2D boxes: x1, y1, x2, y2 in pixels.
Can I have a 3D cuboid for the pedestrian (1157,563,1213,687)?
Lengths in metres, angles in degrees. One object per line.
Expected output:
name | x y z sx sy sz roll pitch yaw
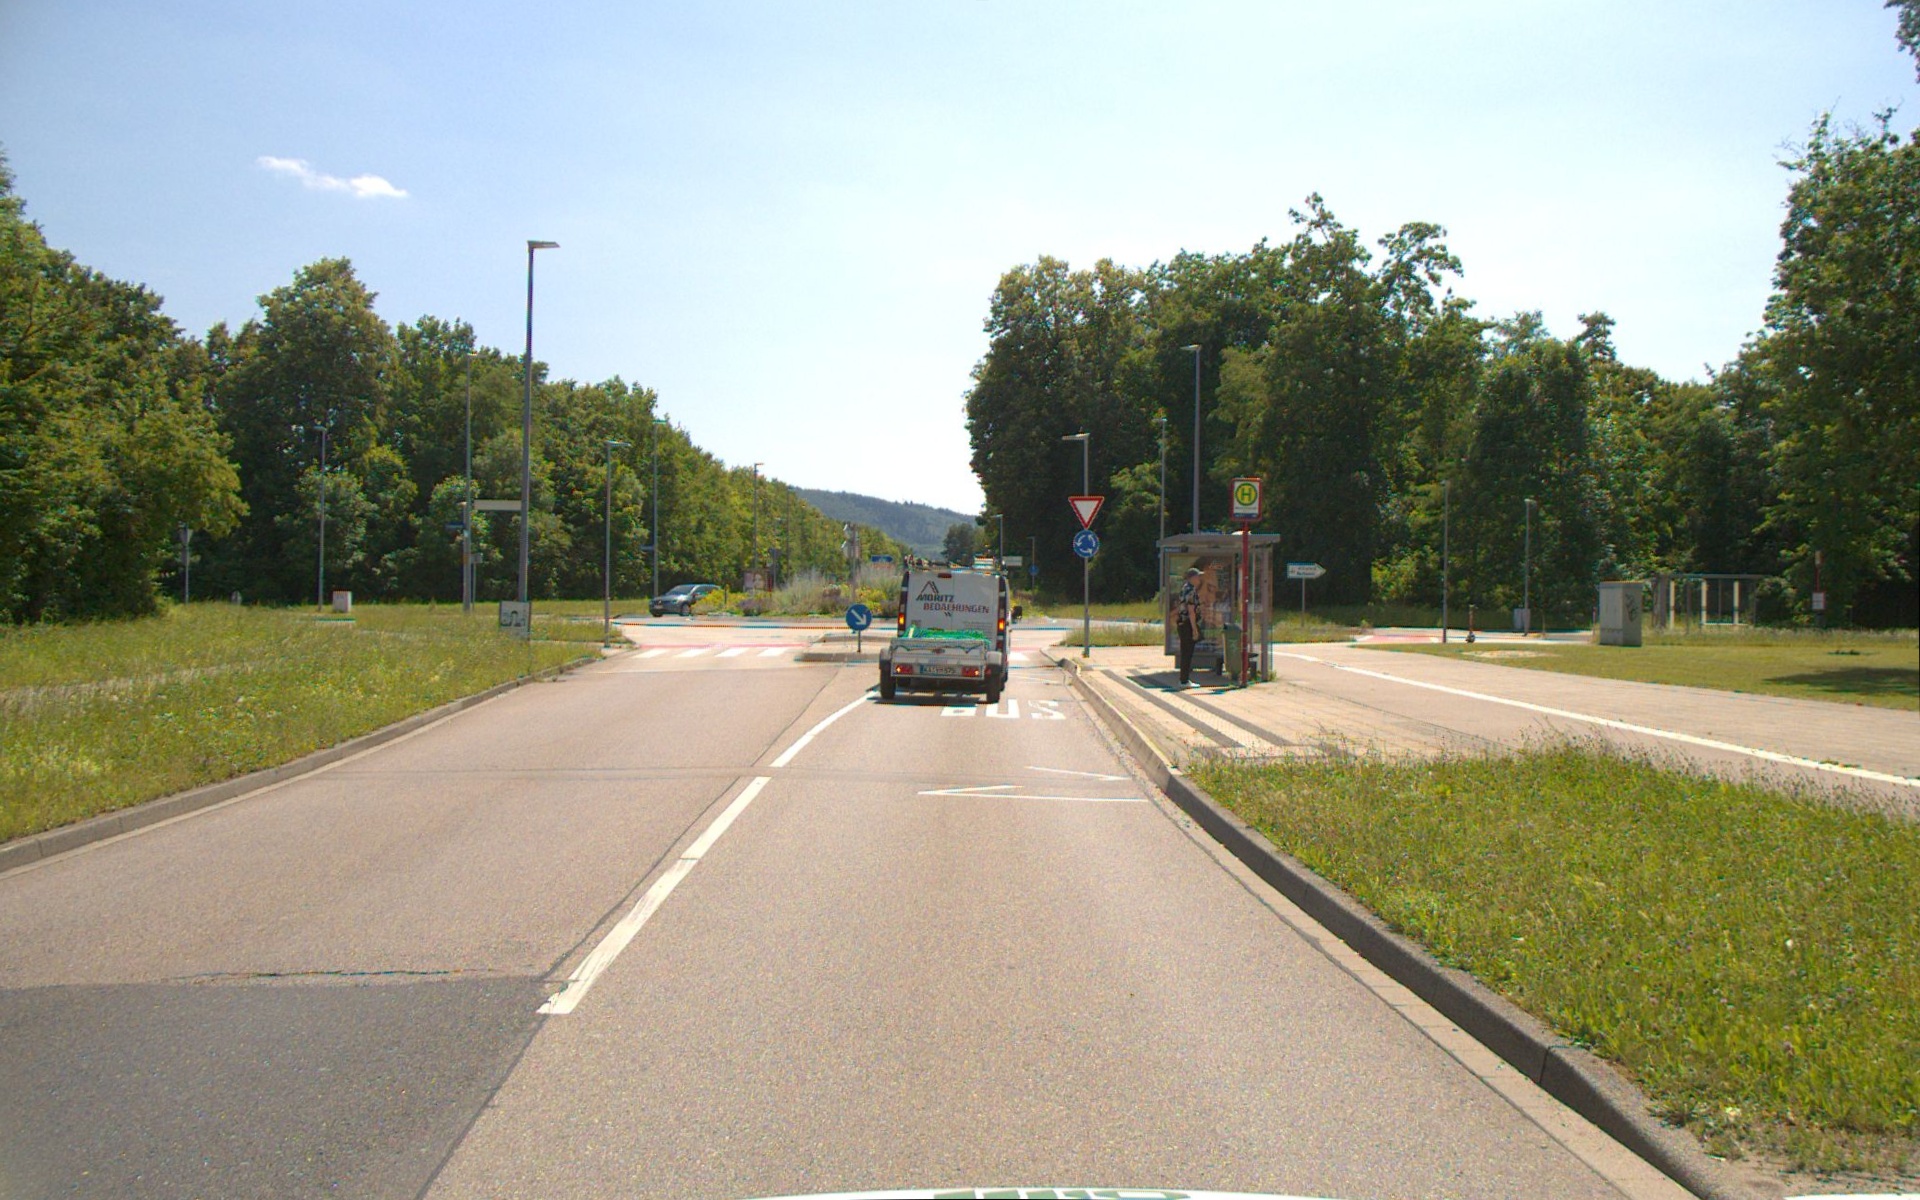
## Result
pedestrian | 3.449 0.372 25.385 0.693 1.854 0.826 -2 0 0

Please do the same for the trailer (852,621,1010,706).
trailer | -0.360 0.918 25.027 2.077 1.116 3.356 1 0 4

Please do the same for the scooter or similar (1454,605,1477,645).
scooter or similar | 15.953 0.785 52.186 0.438 1.222 1.397 1 0 27

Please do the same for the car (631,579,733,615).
car | -12.302 -0.155 73.427 1.962 1.504 4.270 0 1 38

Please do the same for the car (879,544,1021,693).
car | -0.075 0.296 29.226 2.121 2.357 4.983 1 0 3
